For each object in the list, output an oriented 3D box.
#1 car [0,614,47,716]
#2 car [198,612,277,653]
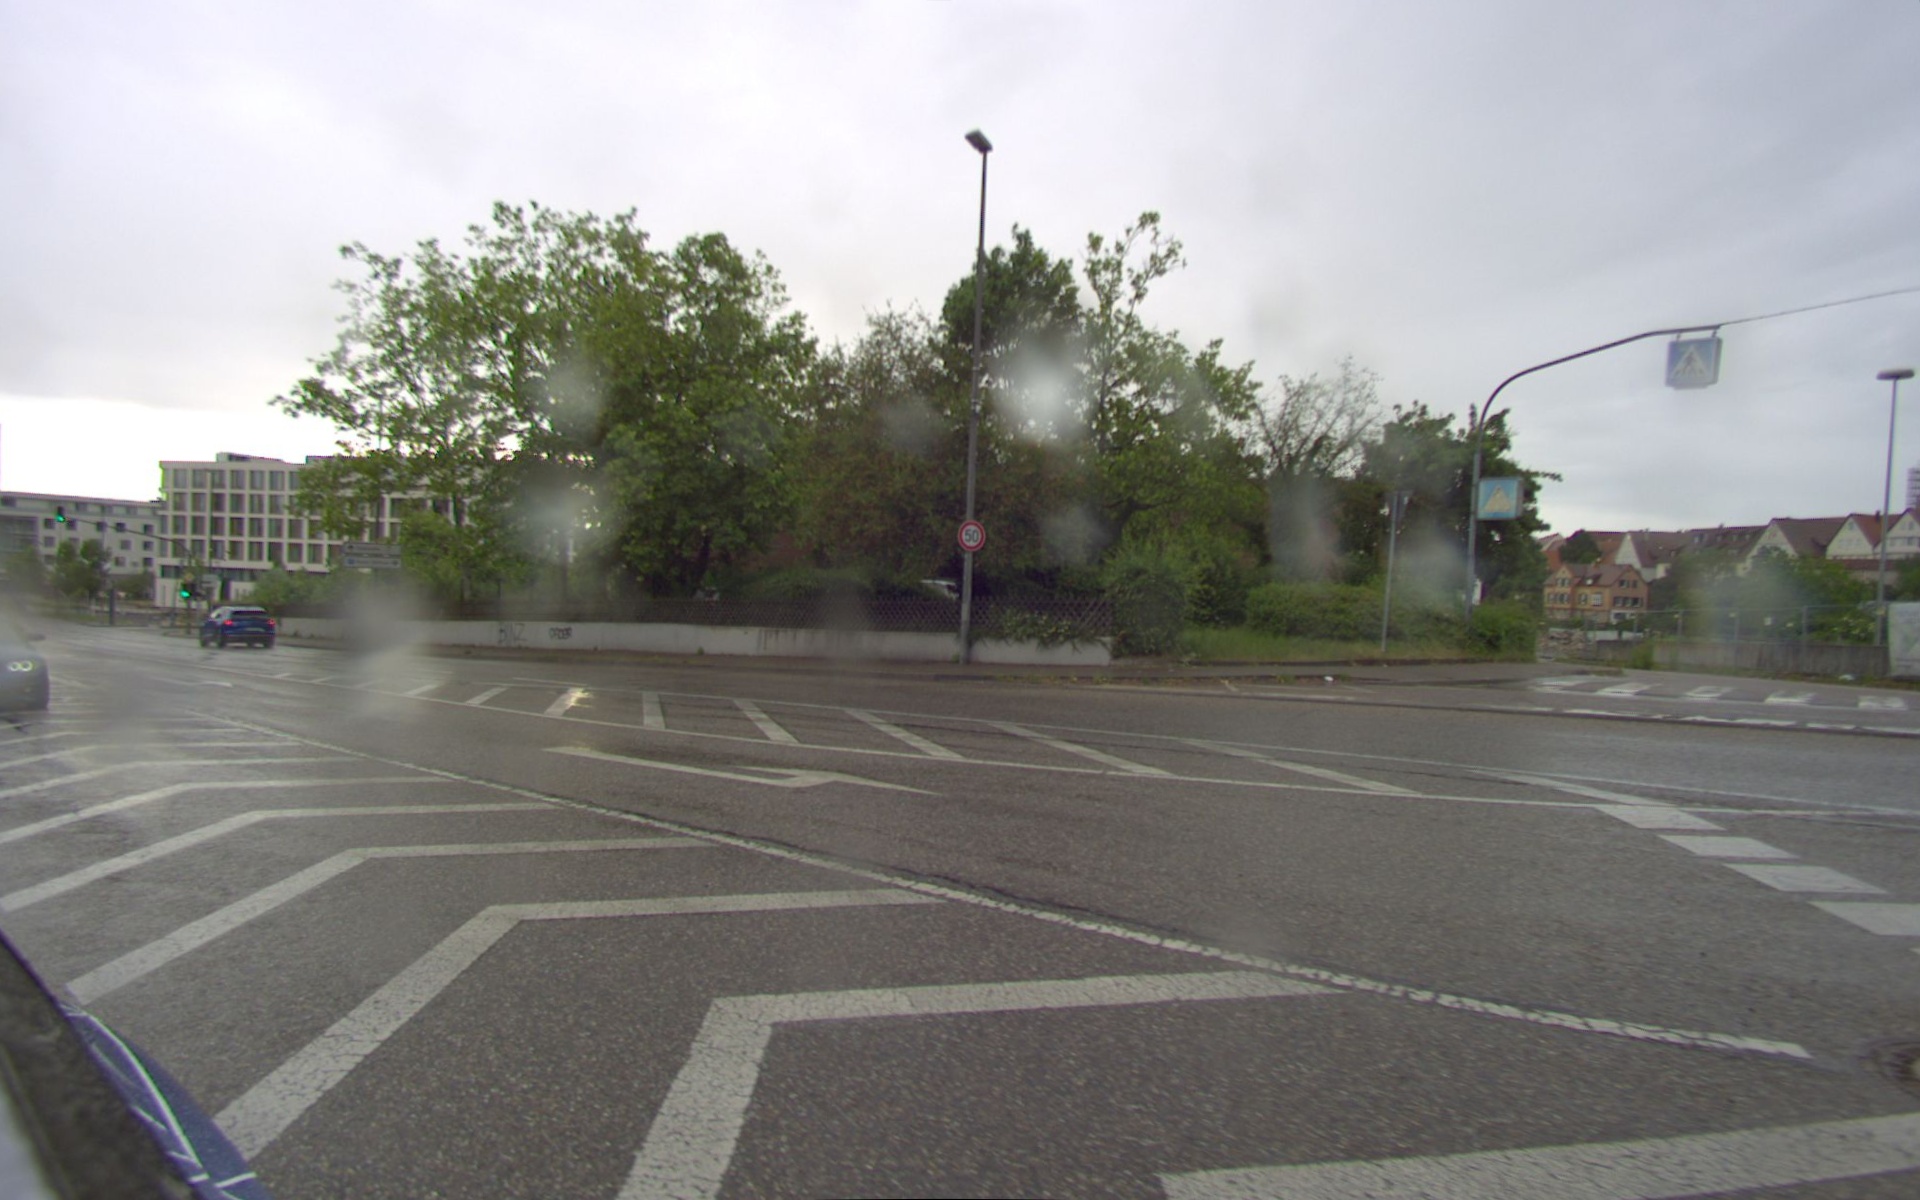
[{"bbox_3d":[-15.485,0.931,15.520,4.944,1.357,1.766,0,0,43],"label":"car"},{"bbox_3d":[-28.788,1.257,40.276,4.000,1.526,1.794,0,-1,43],"label":"car"}]
